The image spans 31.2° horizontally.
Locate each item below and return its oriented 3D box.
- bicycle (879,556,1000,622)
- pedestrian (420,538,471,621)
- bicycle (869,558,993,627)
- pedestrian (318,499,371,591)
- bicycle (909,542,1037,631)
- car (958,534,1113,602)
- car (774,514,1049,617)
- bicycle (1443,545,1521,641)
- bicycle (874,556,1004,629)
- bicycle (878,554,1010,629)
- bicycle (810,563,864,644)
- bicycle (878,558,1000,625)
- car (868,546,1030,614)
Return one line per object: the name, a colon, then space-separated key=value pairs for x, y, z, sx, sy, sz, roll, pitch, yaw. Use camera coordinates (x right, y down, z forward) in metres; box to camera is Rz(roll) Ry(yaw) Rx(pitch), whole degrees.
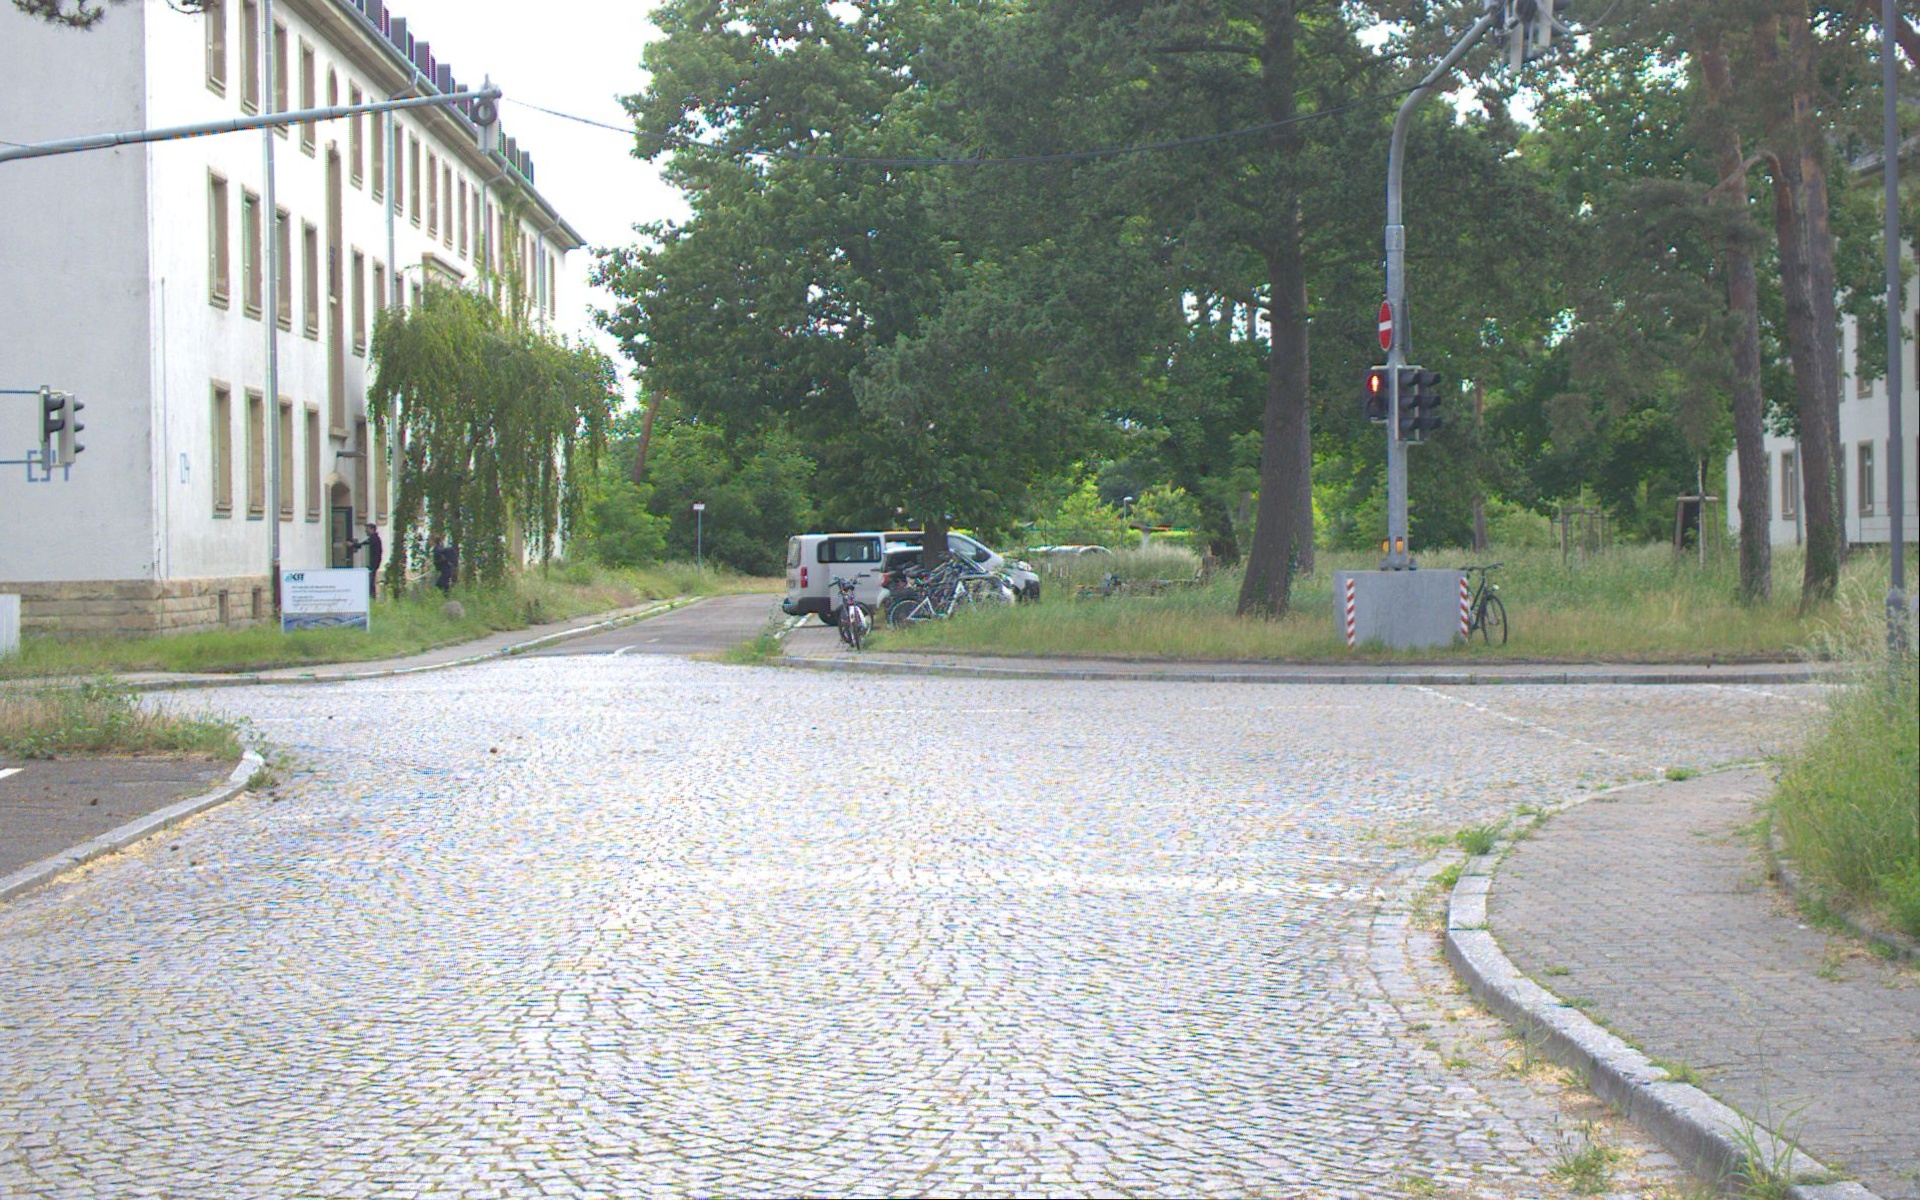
bicycle: x=-0.347 y=-0.187 z=57.822 sx=1.955 sy=1.066 sz=0.588 roll=-1 pitch=1 yaw=-25
pedestrian: x=-10.149 y=-0.410 z=67.802 sx=0.774 sy=1.613 sz=0.740 roll=-1 pitch=1 yaw=10
bicycle: x=-0.464 y=-0.125 z=55.117 sx=1.955 sy=1.066 sz=0.588 roll=-1 pitch=1 yaw=-31
pedestrian: x=-12.277 y=-1.100 z=68.569 sx=0.774 sy=1.831 sz=0.741 roll=-1 pitch=1 yaw=-32
bicycle: x=0.197 y=-0.222 z=54.471 sx=1.954 sy=1.379 sz=0.588 roll=-1 pitch=1 yaw=-8
car: x=1.628 y=-0.710 z=74.990 sx=3.231 sy=1.411 sz=1.725 roll=-1 pitch=1 yaw=-4
car: x=-1.022 y=-0.729 z=71.073 sx=5.359 sy=1.918 sz=2.025 roll=-2 pitch=1 yaw=-10
bicycle: x=6.213 y=-0.099 z=40.974 sx=0.586 sy=1.102 sz=1.962 roll=-1 pitch=1 yaw=-1
bicycle: x=-0.325 y=-0.123 z=53.635 sx=1.954 sy=1.113 sz=0.588 roll=-1 pitch=1 yaw=-8
bicycle: x=-0.248 y=-0.135 z=53.002 sx=1.954 sy=1.128 sz=0.588 roll=-1 pitch=1 yaw=-8
bicycle: x=-1.786 y=0.037 z=49.787 sx=0.603 sy=1.128 sz=1.962 roll=-1 pitch=1 yaw=-7
bicycle: x=-0.342 y=-0.149 z=56.468 sx=1.955 sy=1.066 sz=0.588 roll=-1 pitch=1 yaw=-31
car: x=-0.230 y=-0.397 z=67.641 sx=3.005 sy=1.264 sz=1.535 roll=-1 pitch=1 yaw=-7
